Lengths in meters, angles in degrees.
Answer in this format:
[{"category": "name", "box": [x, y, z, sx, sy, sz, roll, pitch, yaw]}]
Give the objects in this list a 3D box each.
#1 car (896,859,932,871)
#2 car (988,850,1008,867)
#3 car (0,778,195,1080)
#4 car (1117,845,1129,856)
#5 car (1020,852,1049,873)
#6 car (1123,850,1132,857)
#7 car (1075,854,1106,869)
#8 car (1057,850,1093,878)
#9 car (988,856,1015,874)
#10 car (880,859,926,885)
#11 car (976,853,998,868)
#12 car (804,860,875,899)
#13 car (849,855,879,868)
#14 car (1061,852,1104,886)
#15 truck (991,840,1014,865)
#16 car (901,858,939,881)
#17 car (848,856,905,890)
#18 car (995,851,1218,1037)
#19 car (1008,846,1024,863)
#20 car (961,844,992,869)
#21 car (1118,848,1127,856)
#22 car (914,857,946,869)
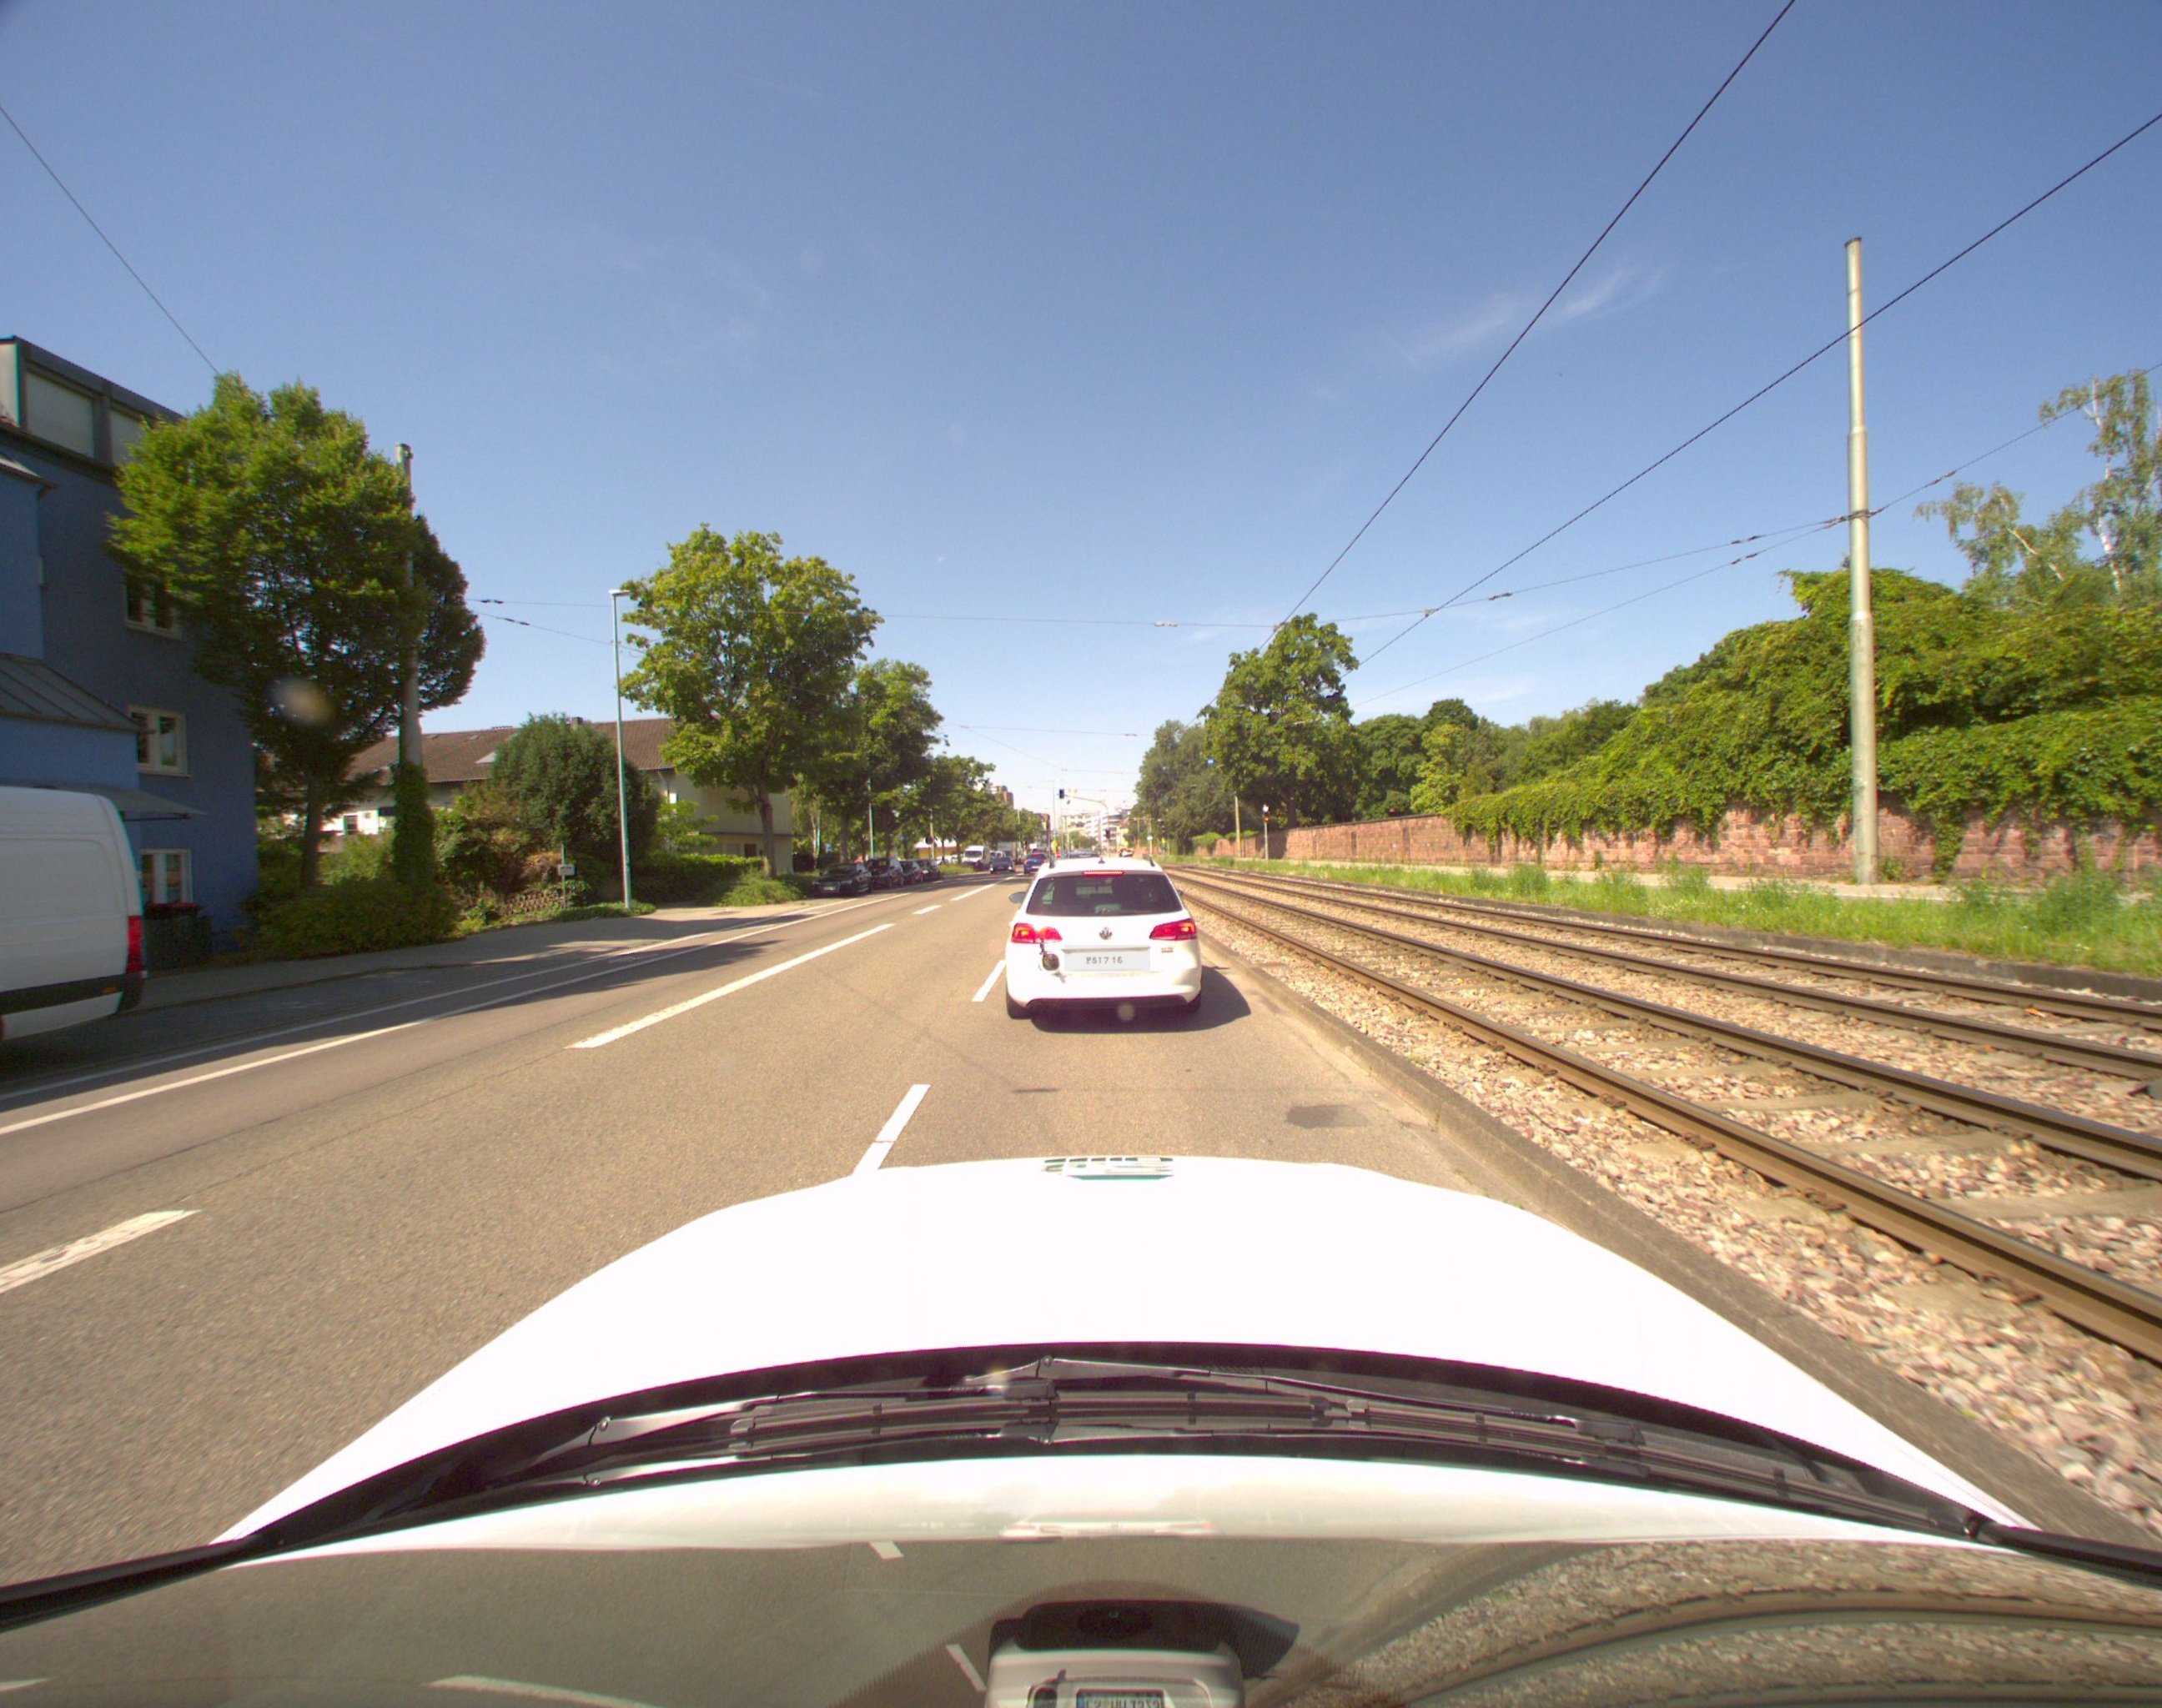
[{"category": "car", "box": [-21.128, 1.387, 103.096, 3.971, 1.225, 1.772, -3, 0, 2]}, {"category": "car", "box": [-10.420, 0.545, 102.843, 1.837, 1.960, 5.134, -3, 0, 1]}, {"category": "car", "box": [-10.574, 0.660, 5.190, 1.987, 2.677, 7.087, 1, 0, 1]}, {"category": "car", "box": [9.957, -0.797, 194.523, 2.455, 2.499, 5.909, 0, -1, 0]}, {"category": "car", "box": [-3.163, 0.579, 56.259, 1.740, 1.407, 3.912, 0, 0, 0]}, {"category": "car", "box": [9.793, -0.155, 171.925, 1.576, 1.346, 3.453, 0, -1, 0]}, {"category": "car", "box": [0.919, 0.711, 77.219, 1.732, 1.407, 3.932, 0, 0, 18]}, {"category": "car", "box": [-0.308, 0.511, 44.023, 1.855, 1.416, 4.324, 0, 0, 0]}, {"category": "car", "box": [-6.226, 0.847, 64.427, 1.682, 1.244, 4.064, -2, 0, 0]}, {"category": "car", "box": [-10.664, 1.042, 49.110, 1.685, 1.379, 4.781, -2, 0, 0]}, {"category": "car", "box": [-10.301, 0.718, 89.525, 1.838, 1.516, 4.196, -3, 0, 0]}, {"category": "car", "box": [-10.529, 1.072, 35.896, 1.836, 1.465, 4.904, -2, 0, -3]}, {"category": "car", "box": [-34.022, 1.171, 127.933, 4.251, 2.014, 1.996, 0, -1, -6]}, {"category": "car", "box": [0.045, 0.605, 35.084, 1.740, 1.388, 3.912, -1, 0, 0]}, {"category": "truck", "box": [-10.520, -0.171, 110.206, 2.349, 3.122, 6.889, -3, 0, -1]}, {"category": "car", "box": [-10.634, 0.992, 53.918, 1.635, 1.450, 4.005, 0, 0, 1]}, {"category": "car", "box": [-10.724, 0.943, 43.137, 1.756, 1.606, 4.893, -2, 0, 0]}, {"category": "car", "box": [0.186, 0.708, 8.416, 1.763, 1.446, 3.911, 0, 0, -1]}, {"category": "car", "box": [-10.087, 0.112, 126.955, 1.837, 2.494, 5.857, -3, 0, 1]}, {"category": "car", "box": [-10.680, 0.204, 83.399, 2.050, 2.501, 6.312, 0, 0, 3]}, {"category": "car", "box": [9.447, -0.481, 185.981, 1.686, 1.812, 3.453, 0, -1, 0]}, {"category": "car", "box": [-20.848, 1.187, 112.484, 3.971, 1.444, 1.772, -3, 0, 2]}]
